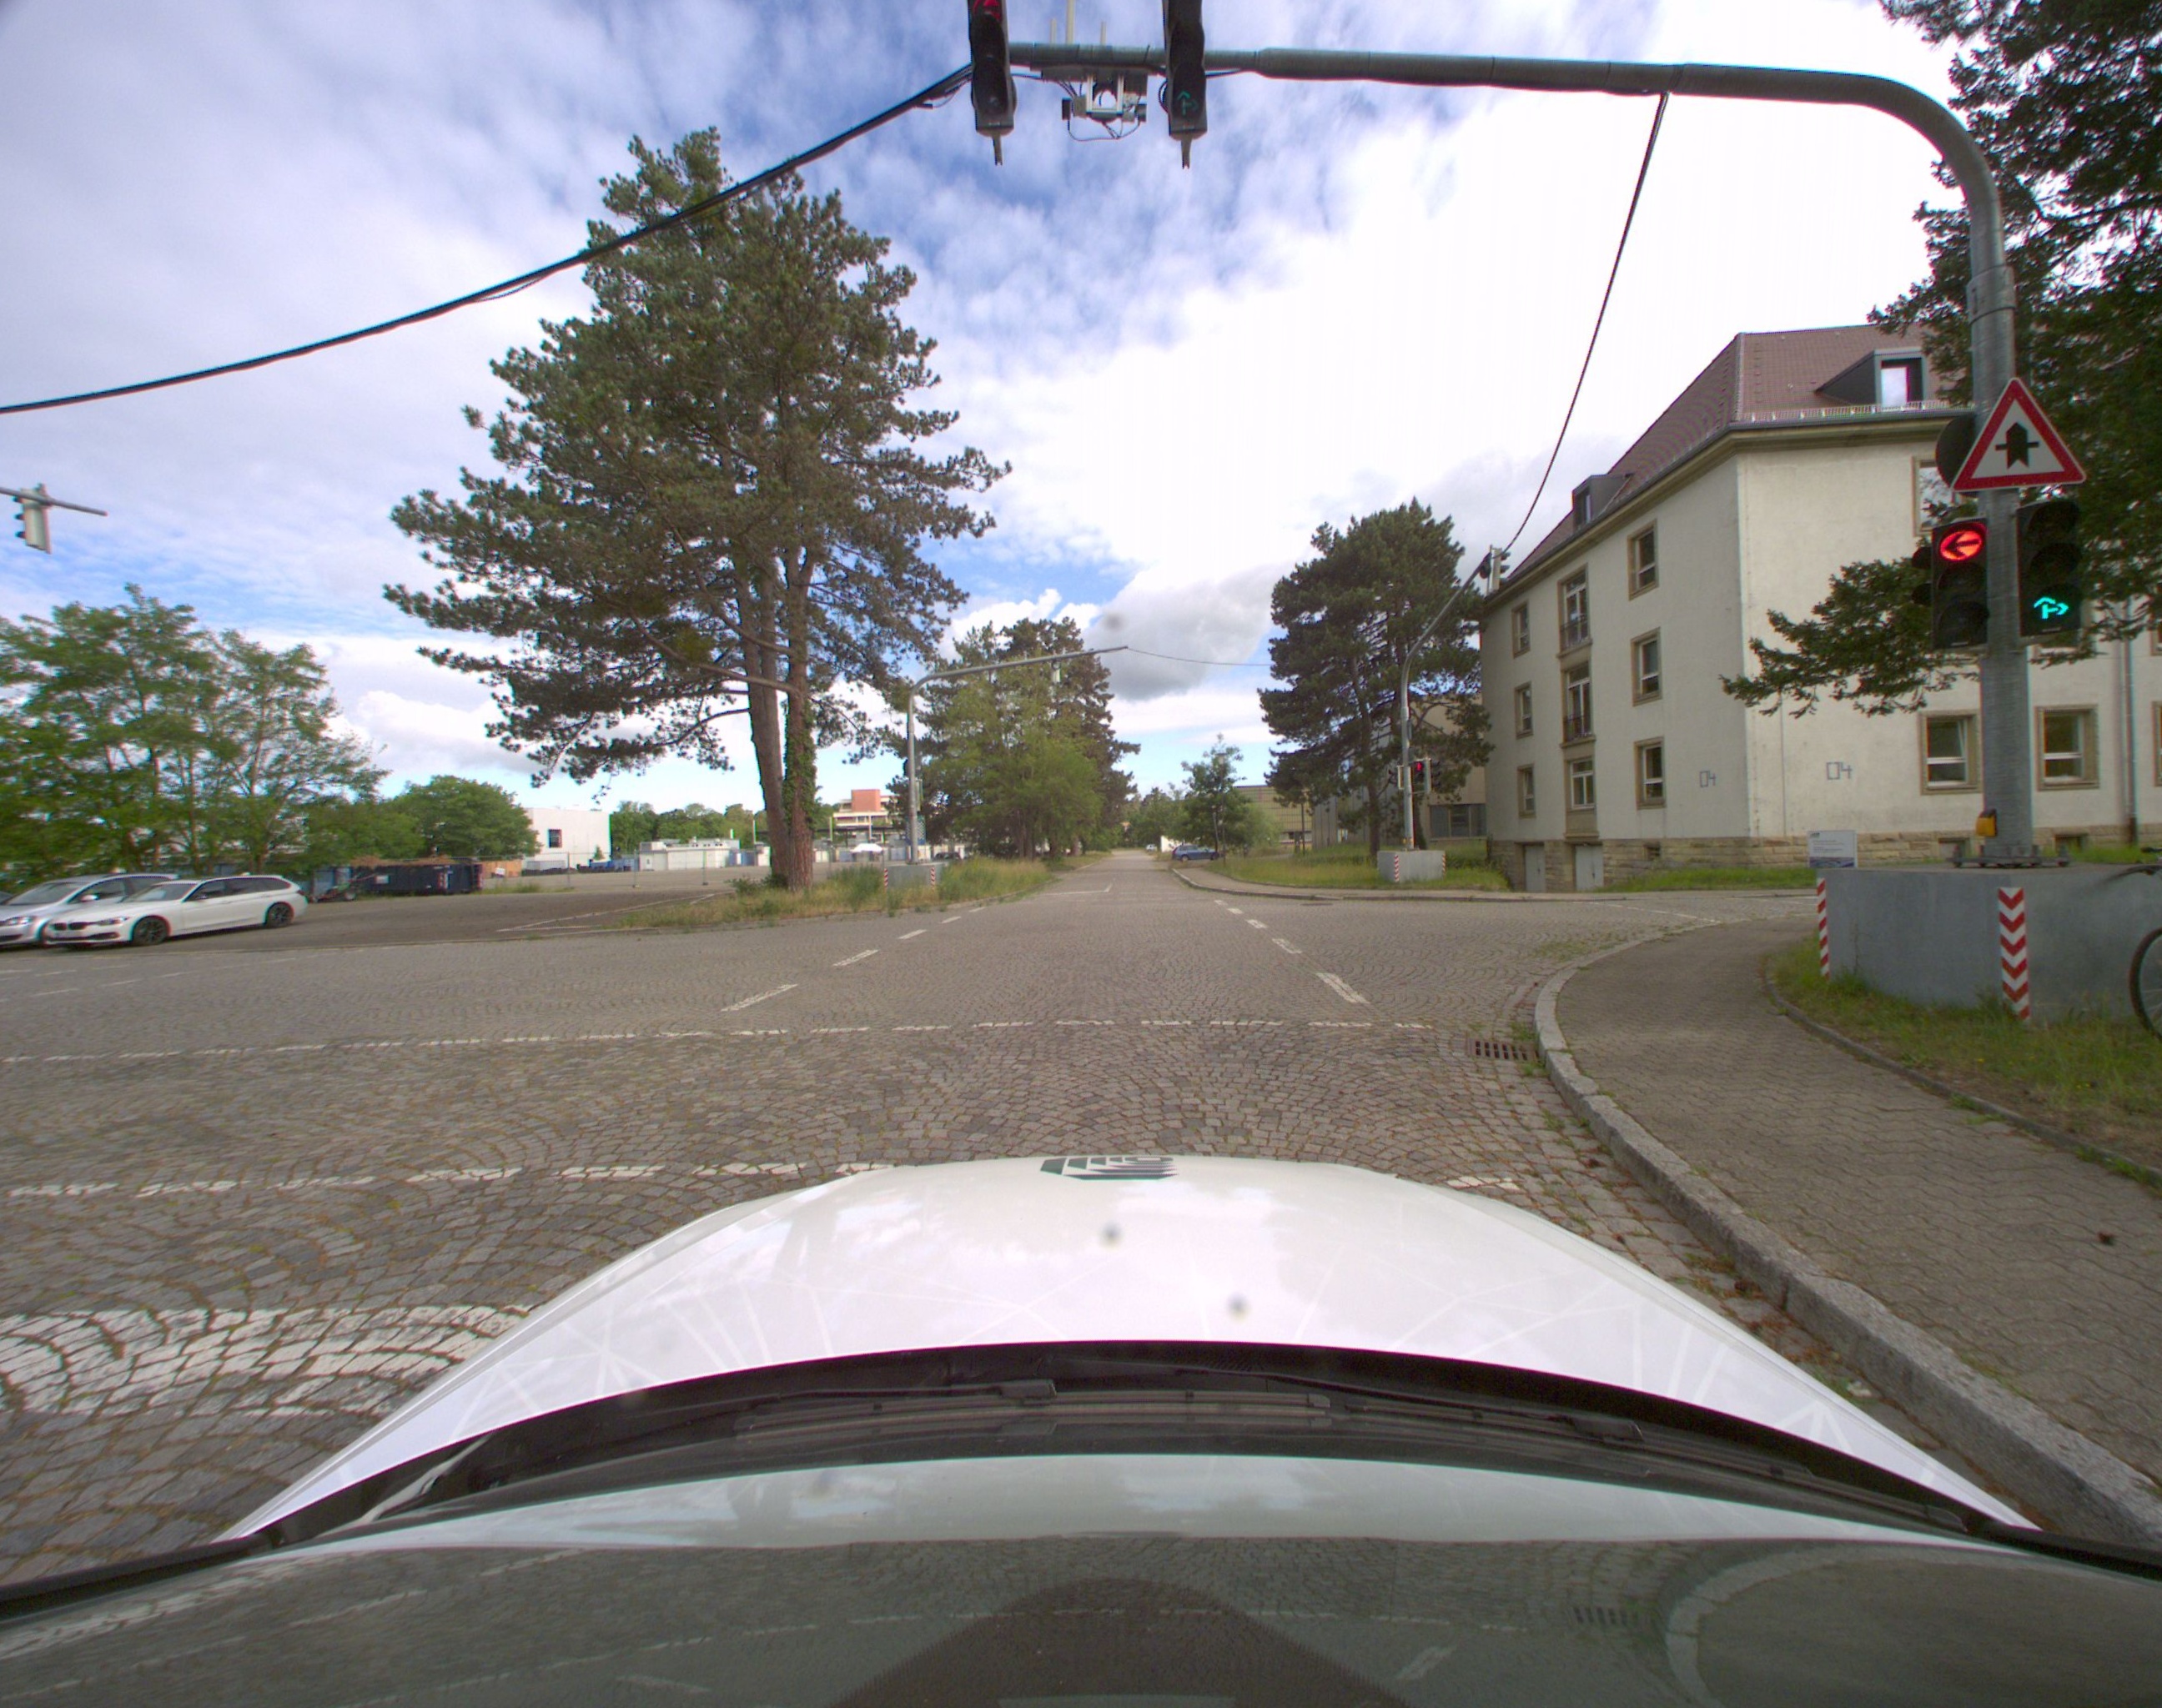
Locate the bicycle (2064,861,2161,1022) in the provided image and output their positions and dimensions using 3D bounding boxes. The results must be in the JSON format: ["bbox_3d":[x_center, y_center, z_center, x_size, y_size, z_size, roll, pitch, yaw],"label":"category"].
[{"bbox_3d":[6.884,0.471,4.679,1.692,0.874,0.573,-2,0,3],"label":"bicycle"}]

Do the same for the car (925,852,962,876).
[{"bbox_3d":[-9.506,0.659,56.703,1.606,1.487,4.004,-2,1,4],"label":"car"}]

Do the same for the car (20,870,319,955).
[{"bbox_3d":[-21.763,1.312,19.838,1.803,1.441,4.742,-2,3,1],"label":"car"}]

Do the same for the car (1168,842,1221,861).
[{"bbox_3d":[9.846,-0.226,70.597,4.328,1.422,2.001,-2,1,1],"label":"car"}]

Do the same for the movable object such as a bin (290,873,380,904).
[{"bbox_3d":[-29.954,1.359,32.778,1.174,1.048,2.657,-2,1,-1],"label":"movable object such as a bin"}]

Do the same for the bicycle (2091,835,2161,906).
[{"bbox_3d":[15.810,0.215,11.808,1.614,0.980,0.530,-2,0,2],"label":"bicycle"}]

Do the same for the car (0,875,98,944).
[{"bbox_3d":[-27.106,1.470,19.456,1.848,1.501,4.327,-2,3,0],"label":"car"}]

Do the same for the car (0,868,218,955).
[{"bbox_3d":[-24.340,1.321,19.869,1.815,1.584,4.327,-2,3,0],"label":"car"}]

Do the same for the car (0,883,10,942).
[{"bbox_3d":[-29.775,1.630,19.759,1.787,1.566,4.326,-2,1,0],"label":"car"}]

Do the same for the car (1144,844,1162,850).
[{"bbox_3d":[16.516,-1.586,187.598,3.977,1.398,1.998,-2,1,-3],"label":"car"}]
